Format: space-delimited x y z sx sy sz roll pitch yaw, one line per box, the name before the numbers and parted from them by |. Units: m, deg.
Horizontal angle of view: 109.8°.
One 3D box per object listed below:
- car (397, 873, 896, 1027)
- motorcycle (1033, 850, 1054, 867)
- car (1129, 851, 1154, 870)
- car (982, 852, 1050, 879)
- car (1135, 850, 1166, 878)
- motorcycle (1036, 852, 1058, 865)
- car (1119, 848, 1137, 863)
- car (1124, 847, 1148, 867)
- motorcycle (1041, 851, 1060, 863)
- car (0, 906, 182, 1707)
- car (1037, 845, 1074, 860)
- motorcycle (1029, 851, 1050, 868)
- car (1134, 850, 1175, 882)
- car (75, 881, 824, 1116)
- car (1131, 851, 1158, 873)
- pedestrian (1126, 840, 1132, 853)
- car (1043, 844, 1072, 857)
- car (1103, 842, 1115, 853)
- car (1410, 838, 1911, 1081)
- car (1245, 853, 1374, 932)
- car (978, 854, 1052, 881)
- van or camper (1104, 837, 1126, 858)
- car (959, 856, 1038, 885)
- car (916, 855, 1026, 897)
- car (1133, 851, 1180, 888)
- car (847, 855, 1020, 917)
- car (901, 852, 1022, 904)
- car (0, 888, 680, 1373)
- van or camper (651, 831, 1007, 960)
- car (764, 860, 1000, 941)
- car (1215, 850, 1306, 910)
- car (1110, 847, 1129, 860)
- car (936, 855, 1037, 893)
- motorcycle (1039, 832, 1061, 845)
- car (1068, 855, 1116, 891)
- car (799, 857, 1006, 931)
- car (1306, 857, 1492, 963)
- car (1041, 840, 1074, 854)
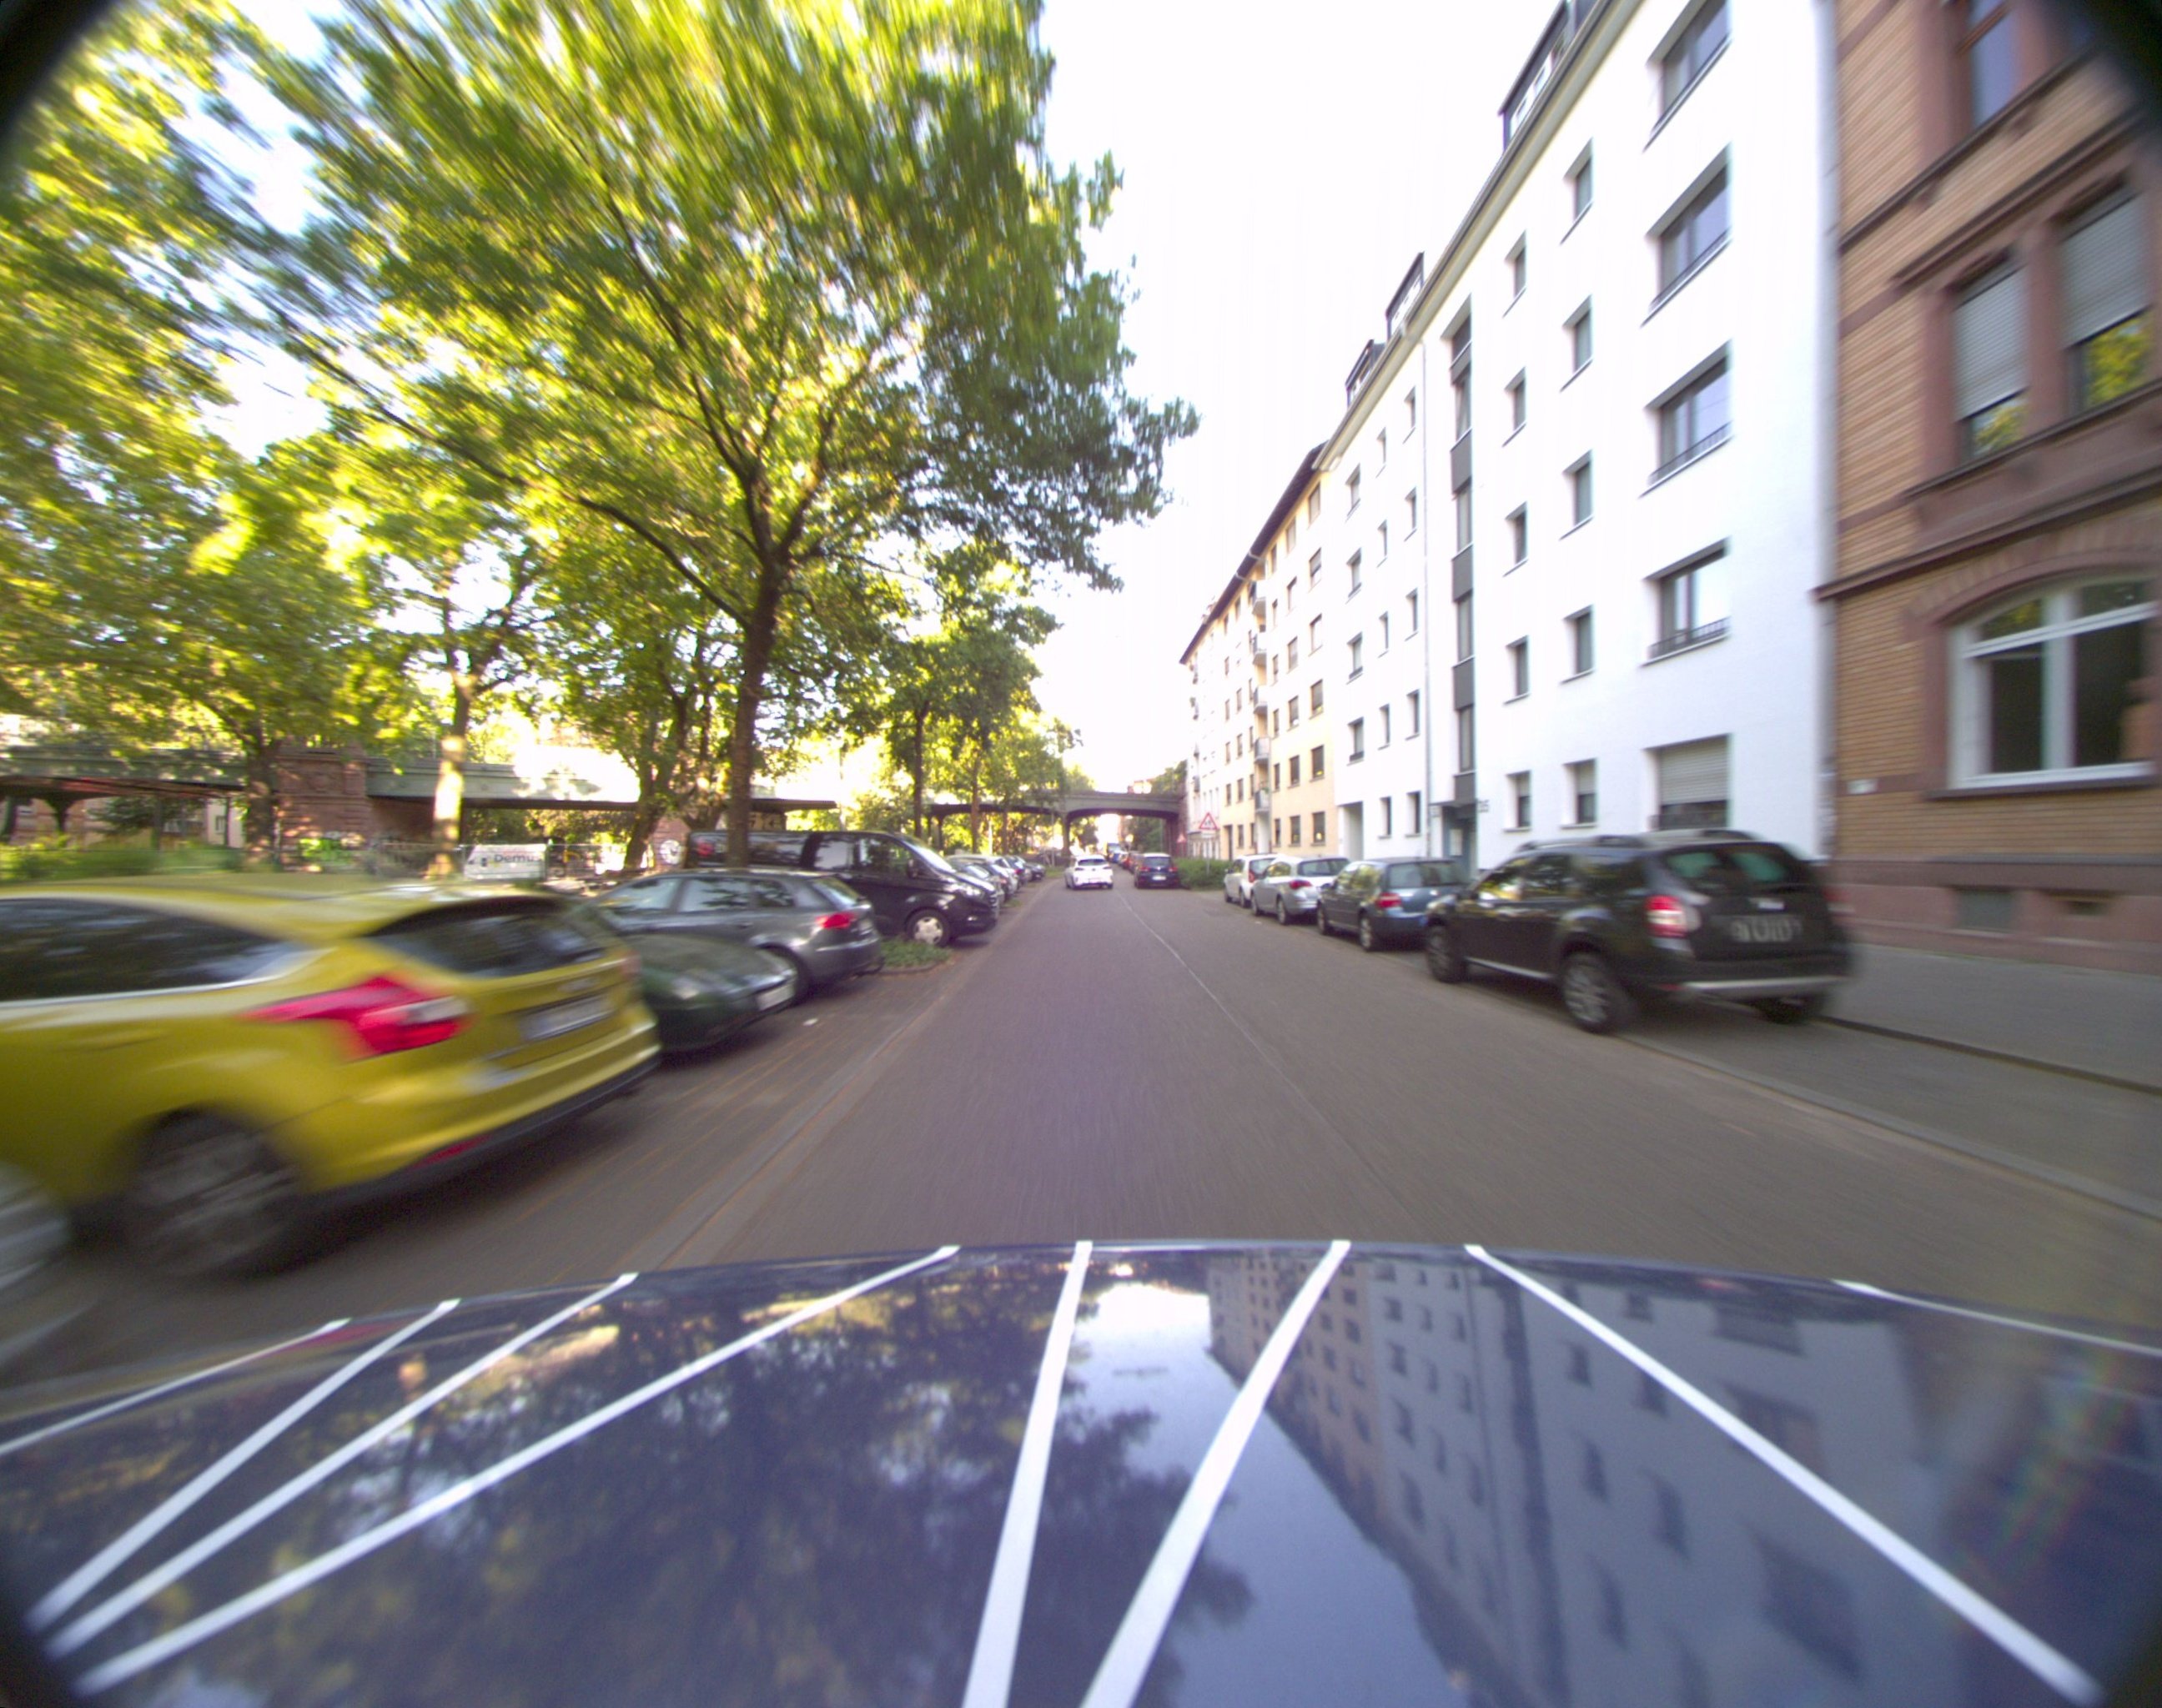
car | -4.469 0.967 8.379 4.411 1.432 1.837 0 1 -1
motorcycle | -3.186 0.407 65.364 1.601 1.400 0.713 -1 3 20
car | 4.801 0.493 60.445 1.693 1.433 3.999 0 1 1
car | -3.679 0.637 43.225 3.793 1.464 1.634 0 2 -3
car | 4.001 0.553 44.116 1.570 1.509 3.782 0 1 2
motorcycle | -3.109 0.386 69.659 1.839 1.126 0.849 -3 3 -23
car | 5.124 0.175 83.817 1.599 1.538 3.913 0 1 -2
car | 4.890 0.266 67.981 1.721 1.698 4.321 0 1 -1
motorcycle | -2.956 0.286 73.704 1.729 1.024 0.810 -3 3 -34
car | -4.256 0.922 0.780 4.410 1.582 1.837 0 1 0
car | -3.171 -0.203 94.150 4.544 1.686 1.906 -2 2 -1
motorcycle | -3.549 0.451 64.458 1.601 1.400 0.713 -1 3 20
car | 3.678 0.580 38.364 1.707 1.516 3.773 0 1 0
car | -4.556 0.981 5.980 4.409 1.432 1.838 0 1 3
car | 4.536 0.528 55.126 1.641 1.458 4.000 2 1 1
pedestrian | 6.991 -1.131 110.495 0.639 1.904 1.046 -2 3 -6
car | -3.227 -0.457 104.254 3.997 1.565 1.586 -2 2 -1
car | 4.170 -0.979 113.891 1.703 1.489 4.548 1 2 2
car | 5.072 0.744 7.549 1.756 1.696 4.200 -2 0 0
car | 5.107 0.782 17.591 1.672 1.463 4.283 -4 1 1
car | -3.524 0.703 40.955 3.791 1.394 1.827 0 2 1
van or camper | 4.363 -0.928 99.659 2.242 2.509 6.417 -2 2 -3
car | -4.107 0.814 38.268 3.791 1.394 1.663 0 2 0
car | -4.060 0.809 28.456 3.791 1.465 1.664 0 2 3
car | 3.228 0.641 33.093 1.743 1.471 4.000 0 1 2
car | -4.014 0.846 21.094 4.408 1.569 1.664 0 2 5
car | -3.992 0.784 25.820 3.791 1.637 1.664 0 2 1
car | -4.510 0.934 3.442 4.409 1.432 1.838 0 1 3
van or camper | -4.130 0.650 13.071 5.426 2.015 2.030 0 0 3
car | -3.959 0.919 15.743 4.411 1.492 1.836 0 2 -2
car | 5.246 0.701 22.692 1.672 1.499 3.999 -4 1 0
car | 4.724 -0.105 93.560 1.749 1.458 4.372 -2 2 -3
car | -3.814 0.801 31.070 3.790 1.439 1.664 0 2 6
motorcycle | -3.088 -1.559 75.446 1.938 1.231 0.902 -3 3 -25
car | 0.405 0.778 32.462 1.673 1.422 3.998 2 -1 -4
car | -4.081 0.890 17.796 4.409 1.569 1.664 0 2 3
car | 5.209 0.823 13.029 1.619 1.443 4.000 -3 0 3
car | -3.398 -0.995 111.393 4.683 1.914 1.871 1 2 -1
